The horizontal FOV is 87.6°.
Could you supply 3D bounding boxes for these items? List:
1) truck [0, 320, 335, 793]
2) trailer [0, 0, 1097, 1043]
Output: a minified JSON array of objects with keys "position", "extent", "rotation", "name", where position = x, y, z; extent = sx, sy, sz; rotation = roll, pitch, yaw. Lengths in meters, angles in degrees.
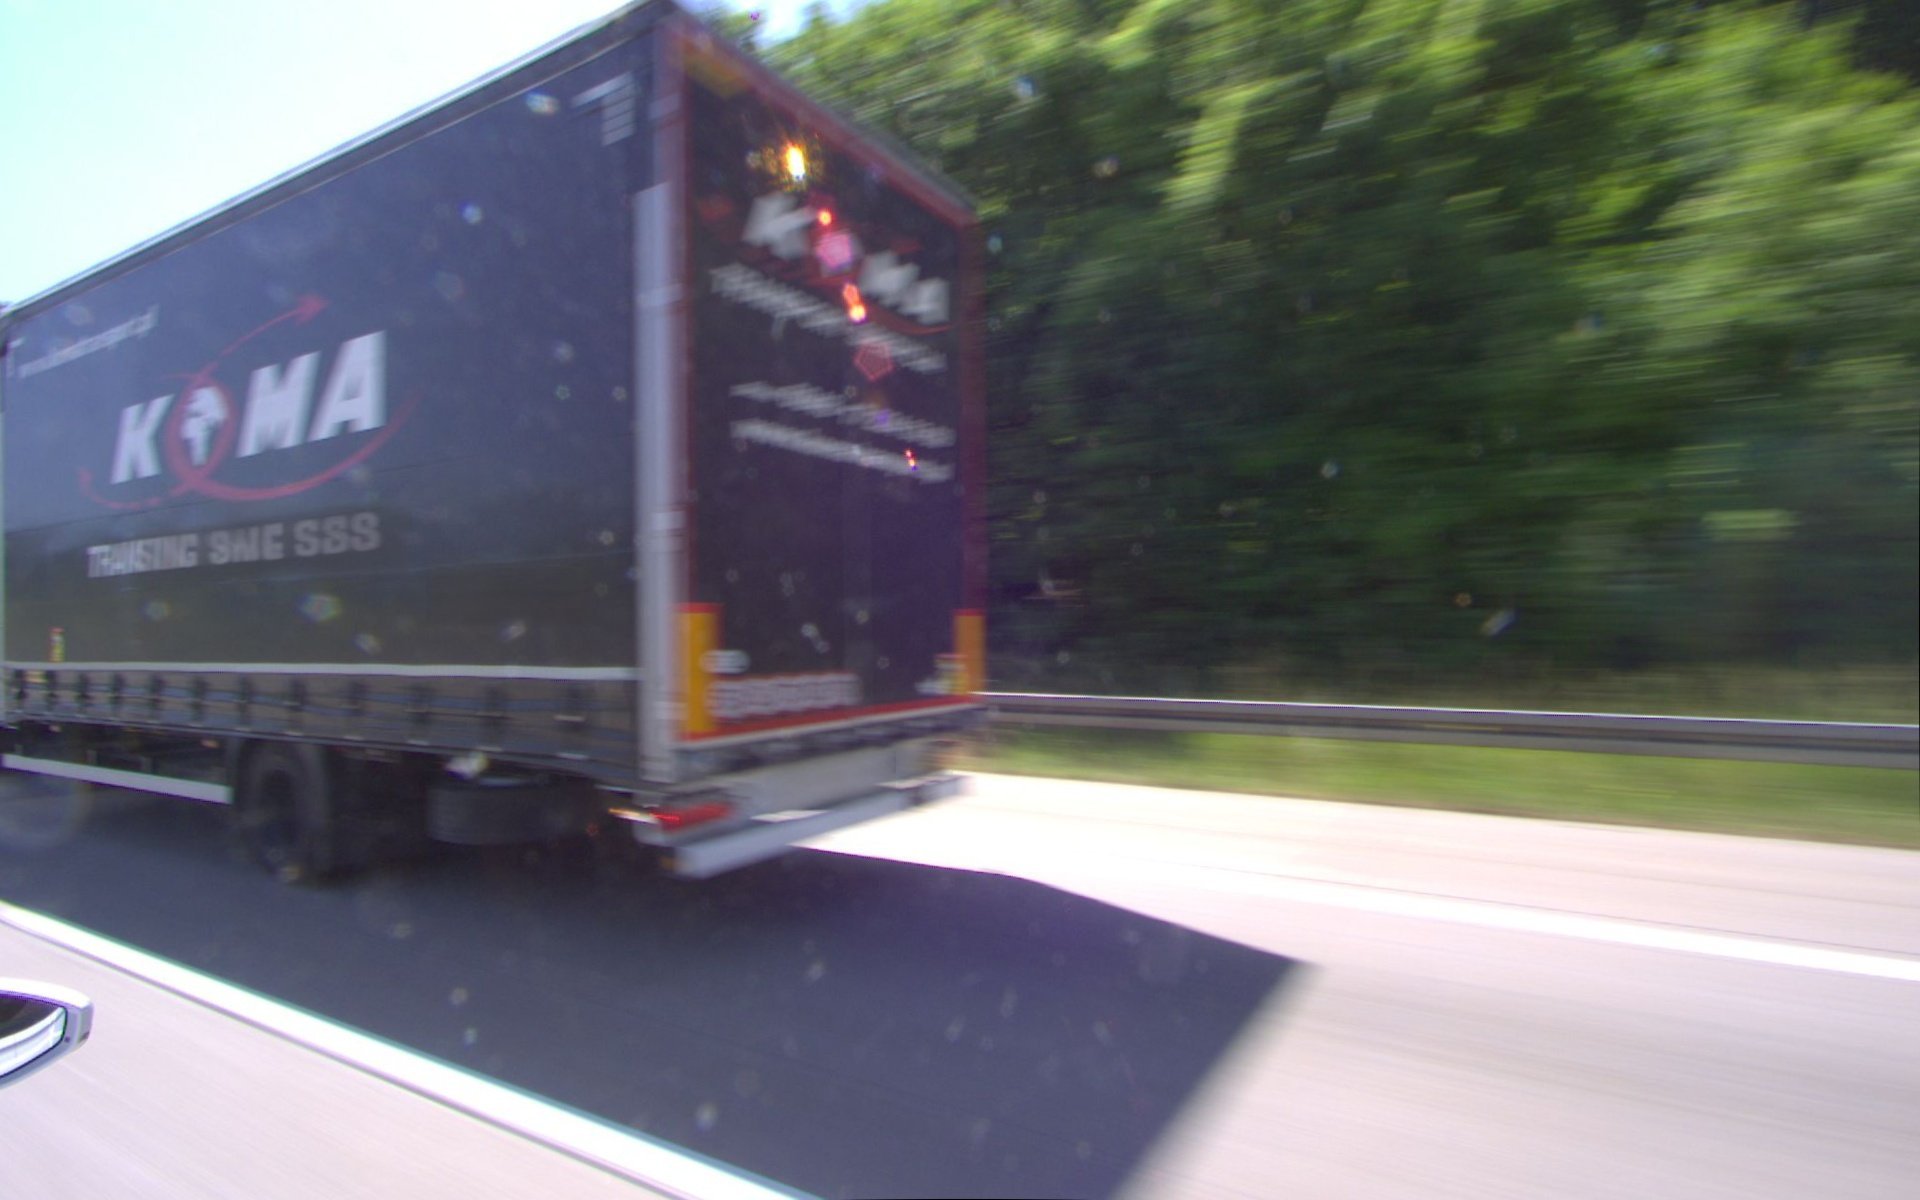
[{"position":[-12.052,-0.246,12.391],"extent":[10.457,4.068,3.154],"rotation":[-1,-2,33],"name":"truck"},{"position":[-3.776,-0.441,7.092],"extent":[8.959,4.068,3.129],"rotation":[-1,-2,32],"name":"trailer"}]
